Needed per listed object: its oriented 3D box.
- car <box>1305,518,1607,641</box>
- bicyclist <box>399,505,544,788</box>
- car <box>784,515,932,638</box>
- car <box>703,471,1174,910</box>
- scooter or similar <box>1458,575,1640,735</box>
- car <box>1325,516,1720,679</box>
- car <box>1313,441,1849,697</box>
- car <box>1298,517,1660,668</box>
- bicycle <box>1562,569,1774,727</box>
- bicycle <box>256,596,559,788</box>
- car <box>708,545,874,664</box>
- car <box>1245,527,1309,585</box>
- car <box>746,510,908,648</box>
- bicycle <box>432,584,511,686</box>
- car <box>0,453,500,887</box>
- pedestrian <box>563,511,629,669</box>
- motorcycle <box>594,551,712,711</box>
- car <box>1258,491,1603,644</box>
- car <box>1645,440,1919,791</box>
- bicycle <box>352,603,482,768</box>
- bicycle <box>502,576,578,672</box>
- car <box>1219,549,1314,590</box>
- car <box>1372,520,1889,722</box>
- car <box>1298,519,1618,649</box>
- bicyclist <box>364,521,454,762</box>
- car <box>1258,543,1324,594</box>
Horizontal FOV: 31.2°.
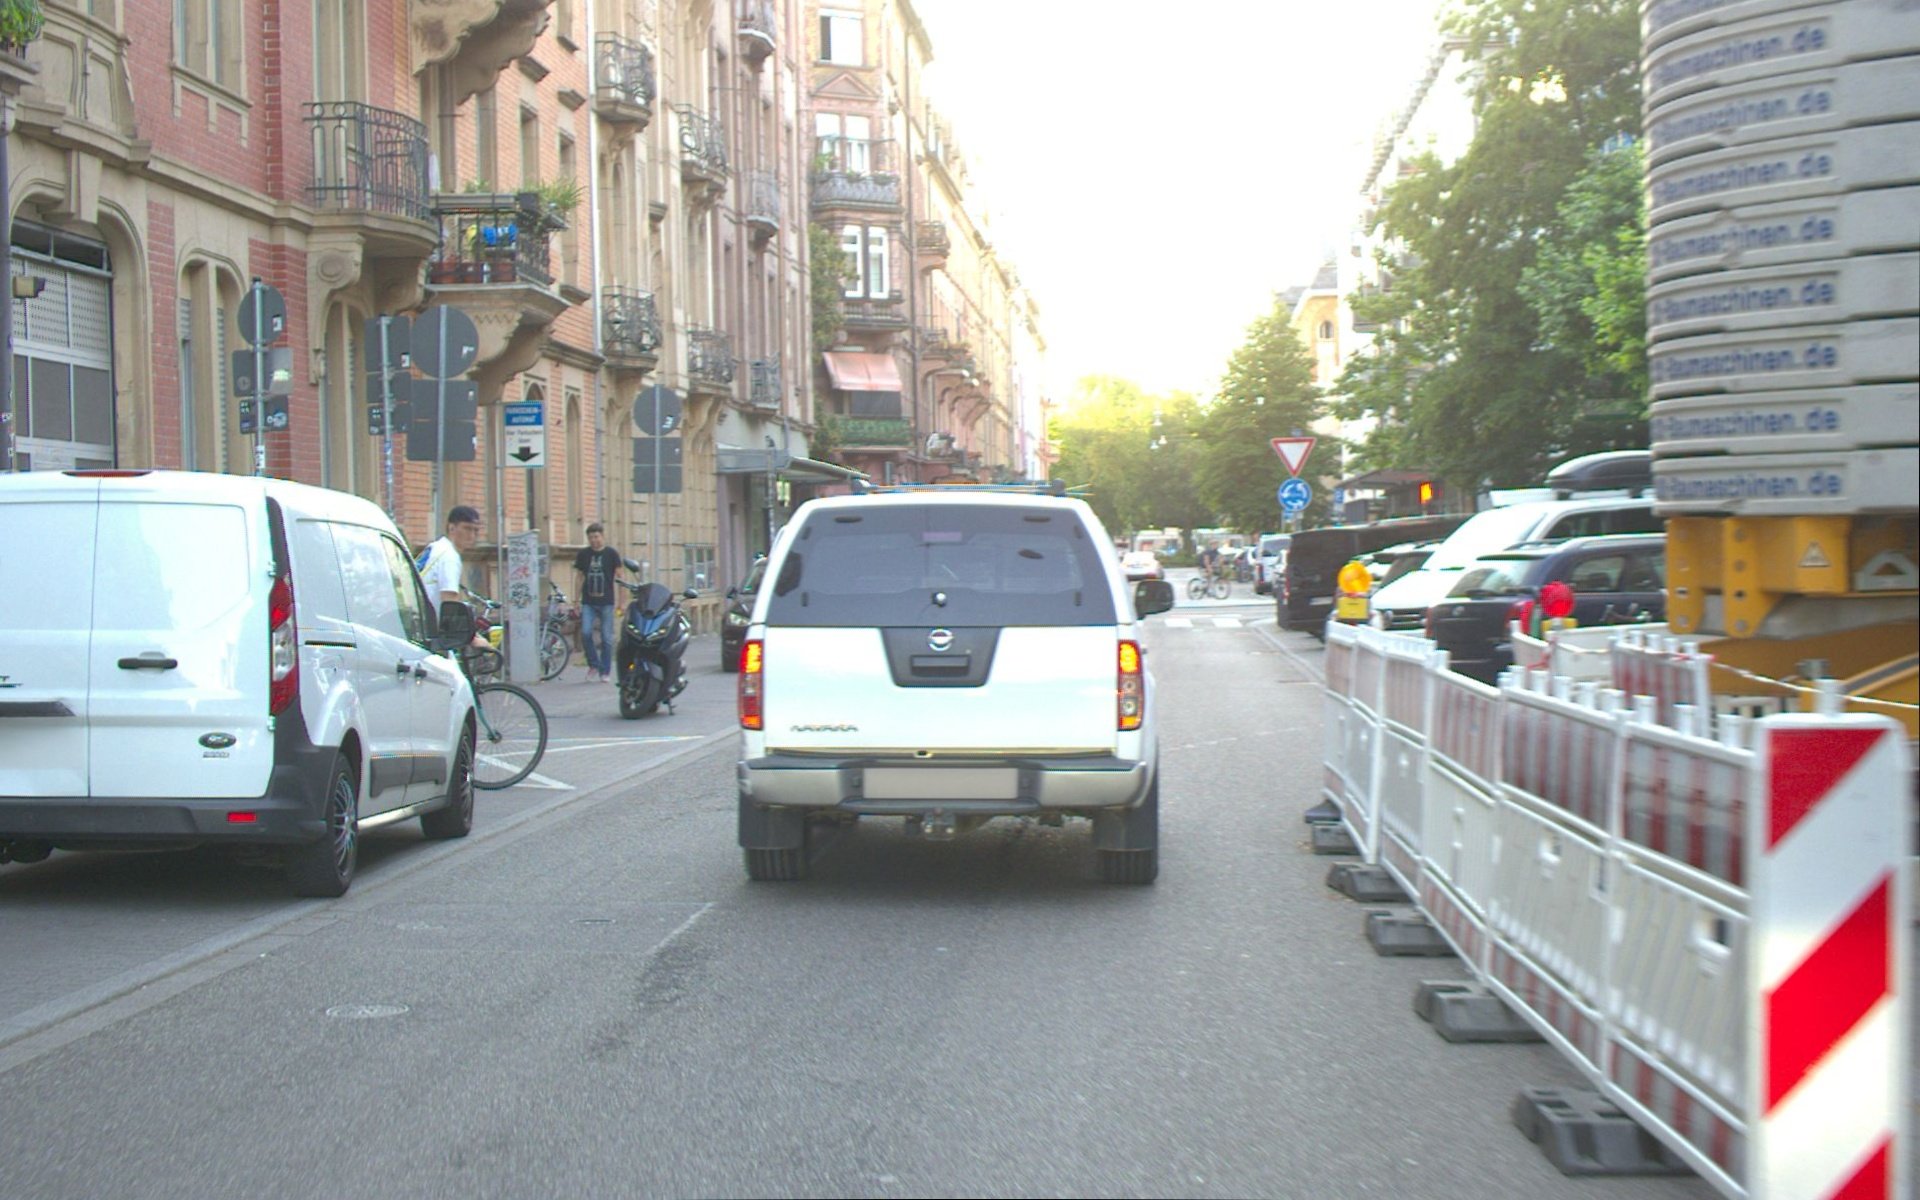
[{"bbox_3d":[7.381,-0.314,51.102,4.095,1.546,1.819,-4,2,-28],"label":"car"},{"bbox_3d":[-2.987,0.280,20.997,0.787,1.698,0.529,0,0,-18],"label":"bicyclist"},{"bbox_3d":[-1.629,-0.400,56.655,2.109,1.915,5.025,-1,1,2],"label":"car"},{"bbox_3d":[-0.027,0.361,16.743,1.938,1.804,5.001,0,0,1],"label":"car"},{"bbox_3d":[4.455,0.401,26.079,0.654,1.146,1.485,-3,1,-20],"label":"scooter or similar"},{"bbox_3d":[6.548,-0.056,39.942,4.153,1.585,1.886,-4,2,-27],"label":"car"},{"bbox_3d":[6.217,-0.343,34.409,4.922,2.354,2.000,-2,1,-22],"label":"car"},{"bbox_3d":[6.479,-0.105,42.871,4.095,1.585,1.819,-4,2,-27],"label":"car"},{"bbox_3d":[5.354,0.344,26.116,0.495,1.132,1.814,-3,2,-28],"label":"bicycle"},{"bbox_3d":[-3.401,0.557,21.181,1.776,1.151,0.521,0,0,-18],"label":"bicycle"},{"bbox_3d":[-2.151,0.032,44.730,1.837,1.466,4.173,-1,1,1],"label":"car"},{"bbox_3d":[10.676,-1.478,116.099,1.943,1.927,4.000,0,0,3],"label":"car"},{"bbox_3d":[-1.902,-0.324,50.506,1.837,1.915,4.845,-1,1,4],"label":"car"},{"bbox_3d":[-5.063,0.353,35.722,0.448,1.026,1.740,0,0,4],"label":"bicycle"},{"bbox_3d":[-3.451,0.275,16.469,1.770,1.783,4.587,0,0,2],"label":"car"},{"bbox_3d":[-4.205,-0.117,39.772,0.682,1.804,0.961,0,0,-2],"label":"pedestrian"},{"bbox_3d":[-2.764,0.268,31.138,0.685,1.400,2.014,0,0,6],"label":"motorcycle"},{"bbox_3d":[7.485,-0.531,54.438,5.420,2.065,1.933,-4,2,-35],"label":"car"},{"bbox_3d":[6.911,-0.046,20.625,5.173,1.949,1.899,-3,2,3],"label":"car"},{"bbox_3d":[-3.647,0.555,23.185,0.466,1.064,1.520,0,0,7],"label":"bicycle"},{"bbox_3d":[-4.934,0.267,40.490,0.749,1.097,2.026,0,0,-3],"label":"bicycle"},{"bbox_3d":[13.128,-1.305,147.340,3.987,1.744,1.840,0,0,3],"label":"car"},{"bbox_3d":[5.627,0.140,28.887,3.854,1.511,1.848,-2,1,-22],"label":"car"},{"bbox_3d":[7.026,-0.235,48.441,4.095,1.546,1.819,-4,2,-28],"label":"car"},{"bbox_3d":[-3.669,0.271,22.895,0.466,1.585,0.487,0,0,7],"label":"bicyclist"},{"bbox_3d":[10.310,-0.979,107.328,1.835,1.536,4.000,0,0,3],"label":"car"}]
